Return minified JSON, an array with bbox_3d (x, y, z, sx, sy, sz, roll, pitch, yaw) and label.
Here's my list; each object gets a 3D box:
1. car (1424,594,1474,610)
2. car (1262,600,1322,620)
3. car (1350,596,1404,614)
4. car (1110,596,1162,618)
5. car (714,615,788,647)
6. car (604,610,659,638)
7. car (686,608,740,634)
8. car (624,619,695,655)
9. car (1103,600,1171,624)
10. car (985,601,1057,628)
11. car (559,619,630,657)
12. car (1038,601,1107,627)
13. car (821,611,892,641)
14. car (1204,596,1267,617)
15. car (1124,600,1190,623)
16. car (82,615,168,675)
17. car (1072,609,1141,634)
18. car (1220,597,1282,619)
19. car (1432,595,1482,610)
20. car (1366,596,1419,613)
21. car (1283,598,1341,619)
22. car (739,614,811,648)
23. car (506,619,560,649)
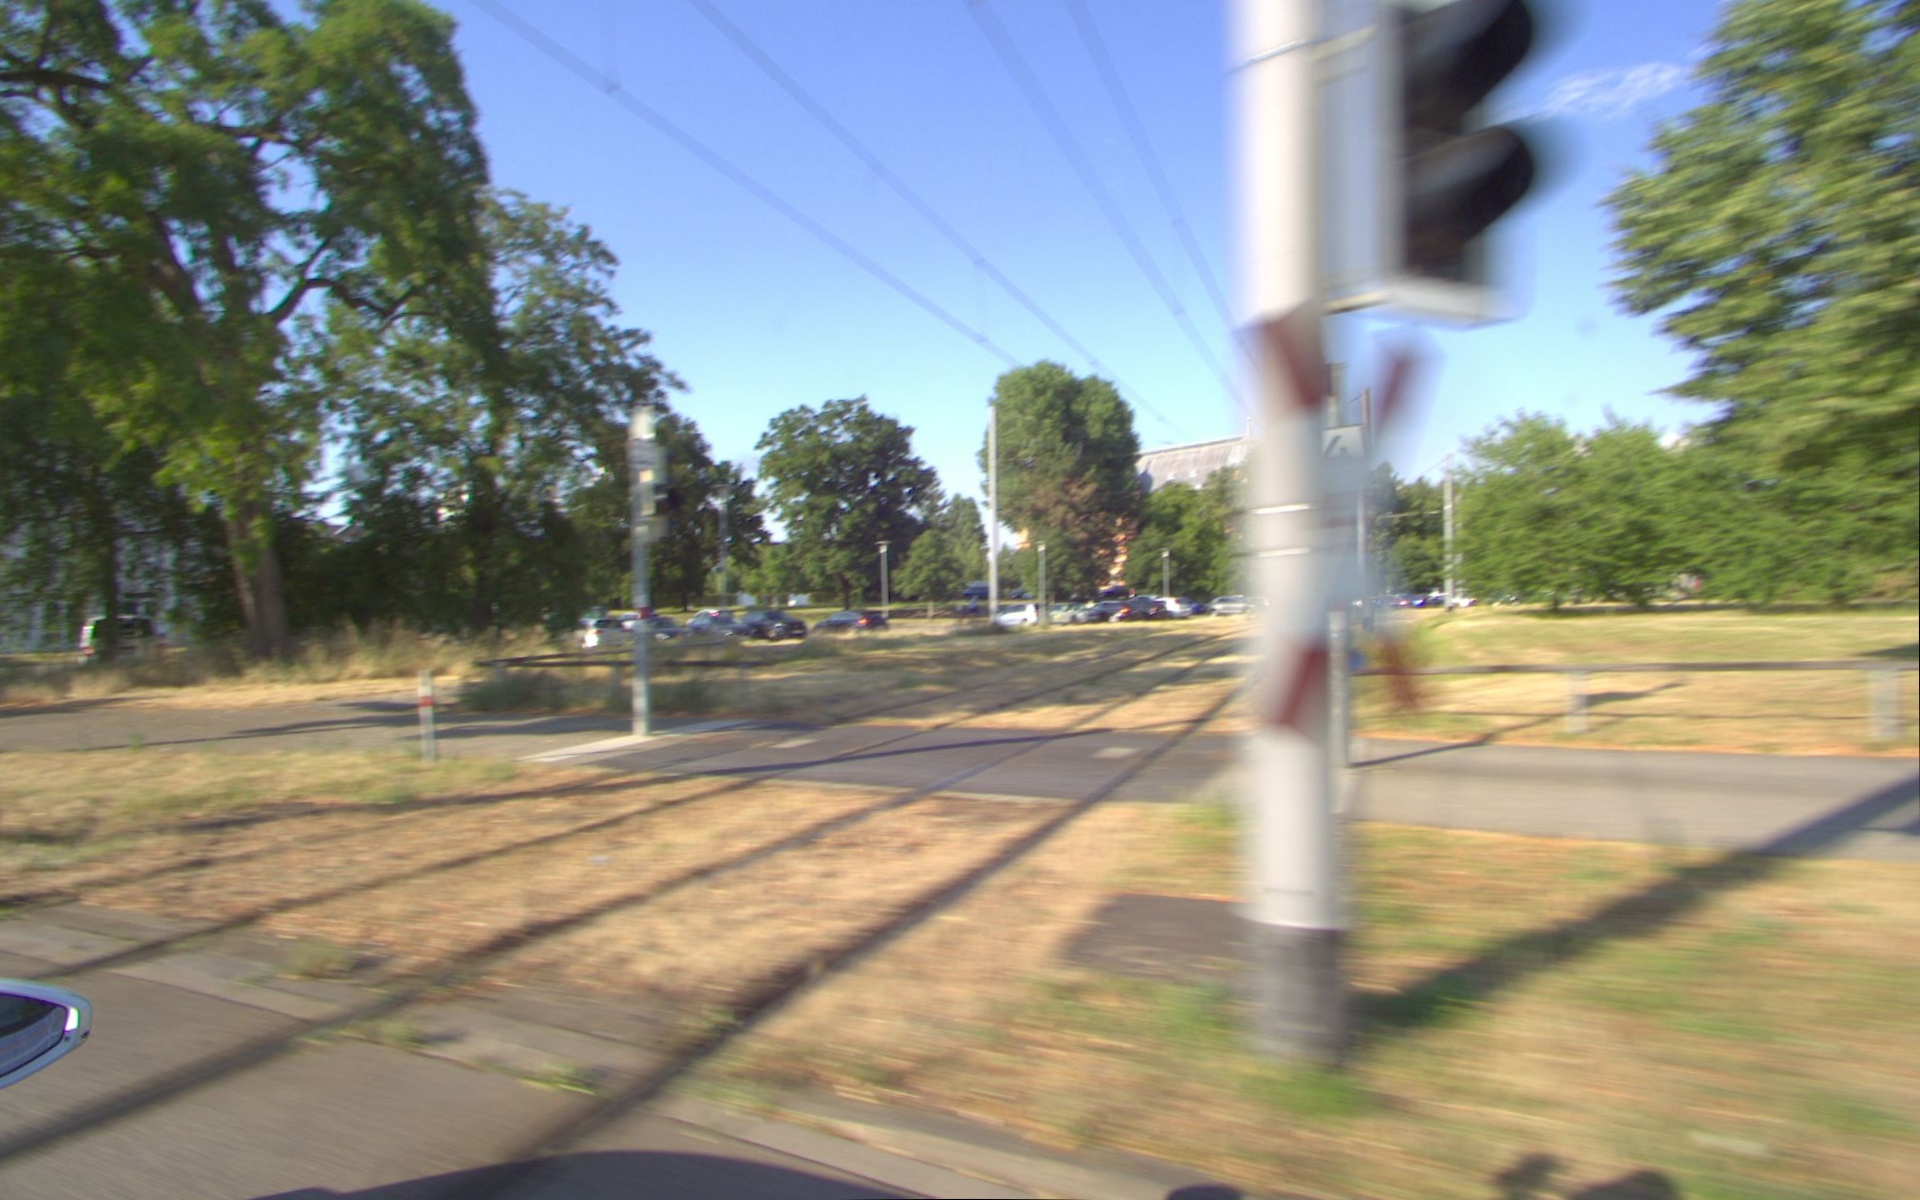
[{"bbox_3d":[47.137,0.159,96.541,1.808,1.421,3.965,-1,0,-42],"label":"car"},{"bbox_3d":[25.293,0.742,76.343,1.808,1.421,3.965,-1,0,-42],"label":"car"},{"bbox_3d":[36.304,0.459,87.224,1.808,1.421,3.965,-1,0,-42],"label":"car"},{"bbox_3d":[14.578,0.573,82.996,1.808,1.694,3.965,-1,0,-42],"label":"car"},{"bbox_3d":[-8.991,1.324,42.897,1.587,1.237,3.939,-1,0,-37],"label":"car"},{"bbox_3d":[-17.662,1.293,53.703,1.587,1.420,3.939,-1,0,-37],"label":"car"},{"bbox_3d":[-14.232,1.223,57.618,1.587,1.420,3.939,-1,0,-37],"label":"car"},{"bbox_3d":[-12.697,1.548,42.176,1.587,1.420,3.939,-1,0,-37],"label":"car"},{"bbox_3d":[11.198,0.785,63.423,1.808,1.421,3.965,-1,0,-42],"label":"car"},{"bbox_3d":[3.444,0.856,56.863,1.808,1.421,3.965,-1,0,-42],"label":"car"},{"bbox_3d":[-14.805,1.515,40.414,1.587,1.420,3.939,-1,0,-37],"label":"car"},{"bbox_3d":[6.724,0.840,60.087,1.808,1.421,3.965,-1,0,-42],"label":"car"},{"bbox_3d":[-5.028,1.254,48.445,1.587,1.327,3.939,-1,0,-37],"label":"car"},{"bbox_3d":[19.501,0.477,70.977,1.808,1.421,3.965,-1,0,-42],"label":"car"},{"bbox_3d":[12.864,0.758,65.449,1.808,1.421,3.965,-1,0,-42],"label":"car"},{"bbox_3d":[-25.192,1.315,30.310,1.755,1.639,3.939,-1,0,-37],"label":"car"},{"bbox_3d":[8.947,1.320,61.395,1.808,1.421,3.965,-1,0,-42],"label":"car"},{"bbox_3d":[21.142,0.594,72.767,1.808,1.421,3.965,-1,0,-42],"label":"car"},{"bbox_3d":[48.720,0.258,98.243,1.808,1.421,3.965,-1,0,-42],"label":"car"},{"bbox_3d":[38.583,0.435,89.330,1.808,1.421,3.965,-1,0,-42],"label":"car"},{"bbox_3d":[27.787,0.690,79.060,1.808,1.589,3.965,-1,0,-42],"label":"car"},{"bbox_3d":[-8.451,1.388,45.506,1.587,1.420,3.939,-1,0,-37],"label":"car"},{"bbox_3d":[-21.364,1.689,50.039,1.587,1.420,3.939,-1,0,-37],"label":"car"}]
